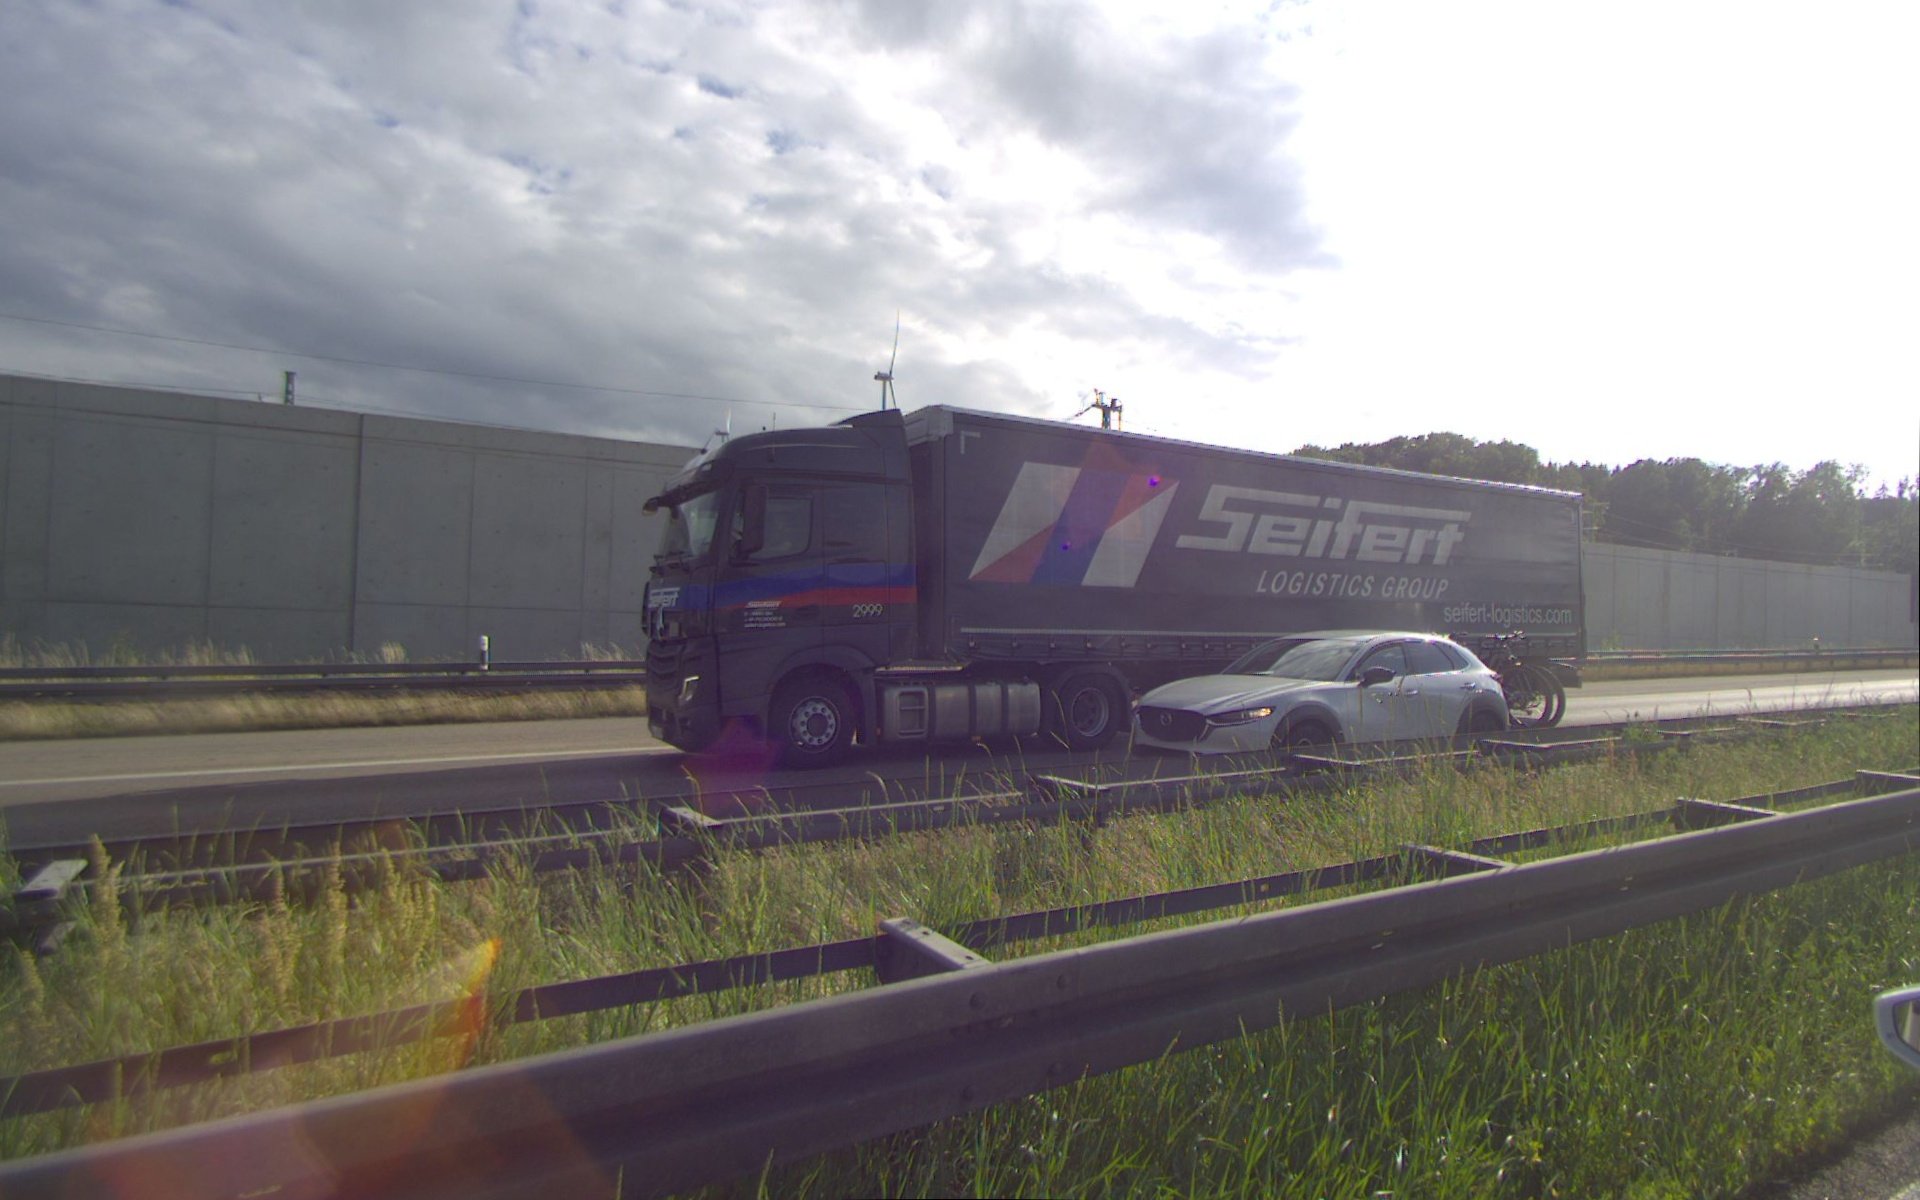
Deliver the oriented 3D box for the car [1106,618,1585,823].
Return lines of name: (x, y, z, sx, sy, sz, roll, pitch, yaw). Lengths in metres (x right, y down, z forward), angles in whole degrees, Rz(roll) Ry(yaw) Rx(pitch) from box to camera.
car: (4.102, 1.091, 10.411, 5.051, 1.653, 1.879, 2, 0, -30)

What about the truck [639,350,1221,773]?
truck: (-0.219, -0.266, 12.766, 6.871, 4.144, 2.741, 2, -1, -30)

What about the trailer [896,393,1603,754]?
trailer: (5.327, -0.103, 15.989, 12.752, 4.169, 2.746, 2, -1, -30)
